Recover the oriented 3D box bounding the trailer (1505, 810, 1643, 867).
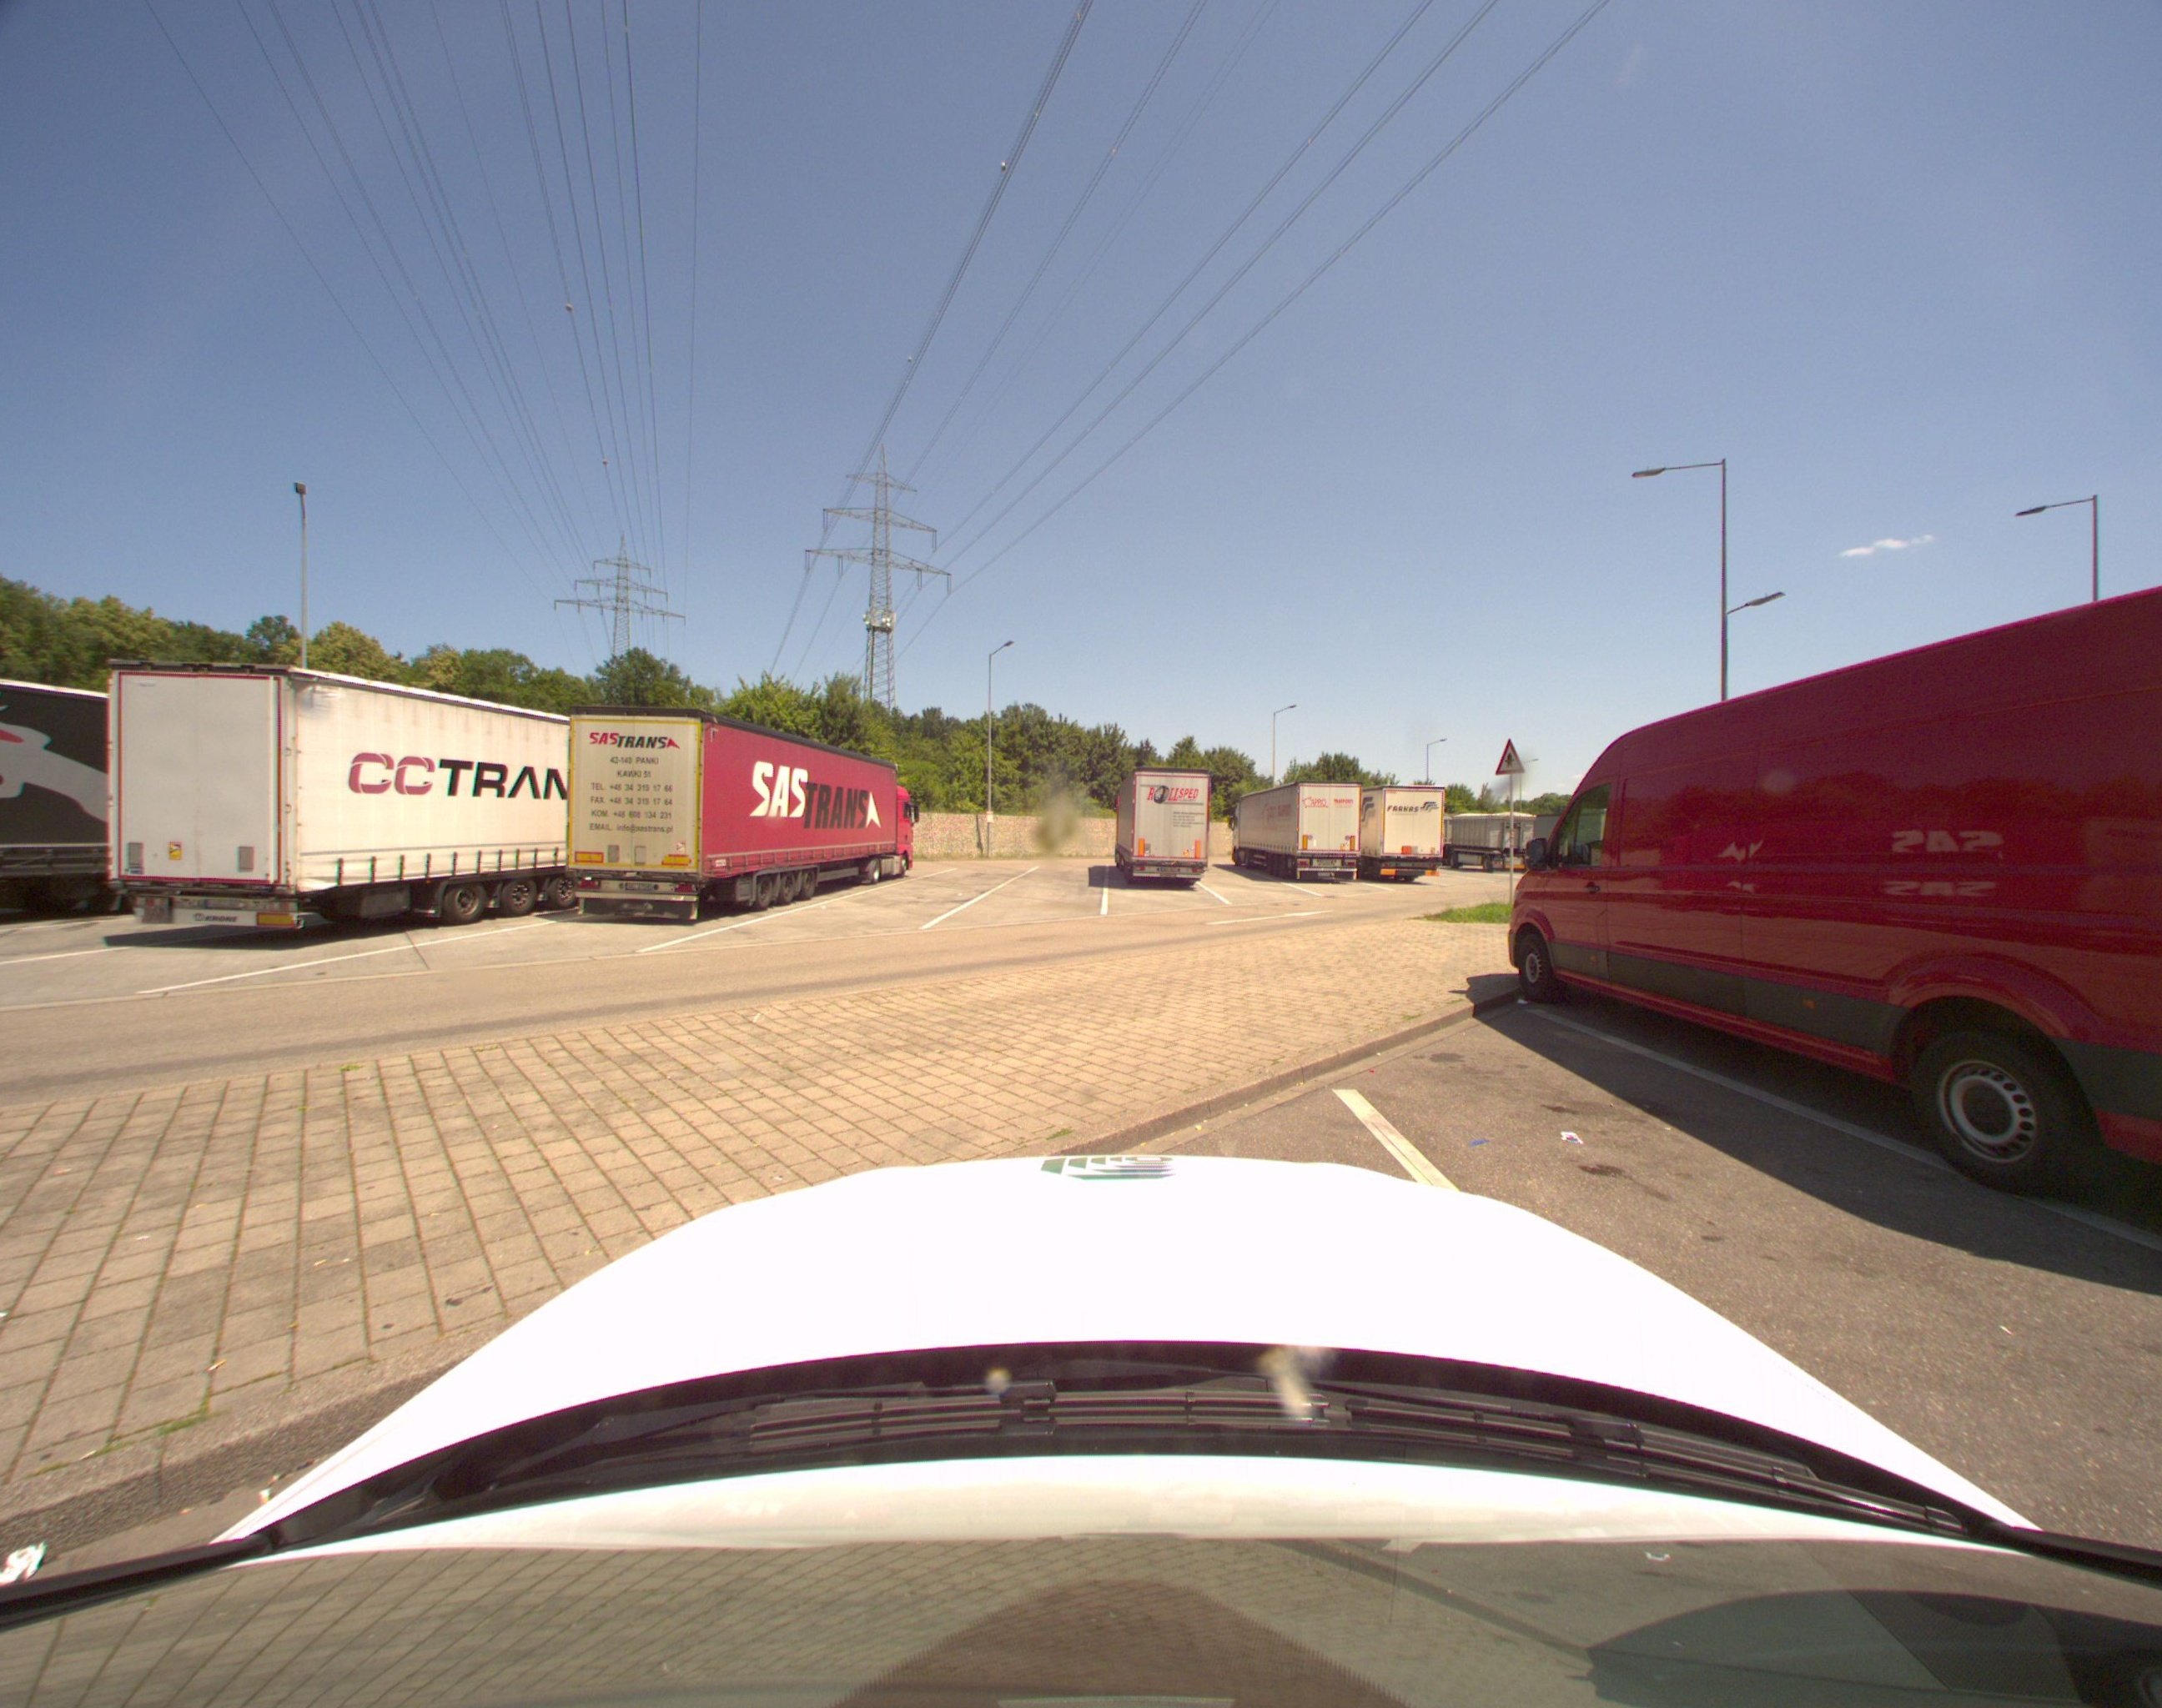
[{"bbox_3d":[38.230,-1.299,64.165,2.847,3.904,13.770,1,2,2],"label":"trailer"}]

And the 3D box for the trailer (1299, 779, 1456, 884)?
[{"bbox_3d":[13.619,-1.097,39.207,2.847,4.109,13.770,1,2,2],"label":"trailer"}]

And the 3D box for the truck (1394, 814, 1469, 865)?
[{"bbox_3d":[24.636,-1.084,57.579,2.855,3.362,5.977,1,2,2],"label":"truck"}]

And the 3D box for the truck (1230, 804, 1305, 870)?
[{"bbox_3d":[10.188,-0.980,45.047,2.855,3.362,5.977,1,2,2],"label":"truck"}]

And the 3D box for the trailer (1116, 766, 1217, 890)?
[{"bbox_3d":[3.059,-1.050,33.191,2.848,3.971,13.767,1,2,1],"label":"trailer"}]

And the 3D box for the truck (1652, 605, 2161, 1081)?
[{"bbox_3d":[8.014,-0.074,6.868,2.406,2.906,6.466,-1,0,6],"label":"truck"}]

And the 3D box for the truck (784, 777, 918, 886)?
[{"bbox_3d":[-7.821,-0.796,28.525,2.801,3.362,5.977,1,2,2],"label":"truck"}]

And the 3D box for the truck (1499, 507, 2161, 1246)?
[{"bbox_3d":[5.154,0.077,5.435,2.001,2.651,6.466,-1,0,6],"label":"truck"}]

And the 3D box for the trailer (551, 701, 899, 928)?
[{"bbox_3d":[-8.035,-0.929,21.708,2.811,4.070,13.770,1,2,2],"label":"trailer"}]

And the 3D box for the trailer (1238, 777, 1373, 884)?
[{"bbox_3d":[9.991,-1.122,38.283,2.847,4.109,13.770,1,2,2],"label":"trailer"}]

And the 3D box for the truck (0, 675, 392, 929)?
[{"bbox_3d":[-18.538,-0.940,15.811,2.696,4.070,8.694,1,2,2],"label":"truck"}]

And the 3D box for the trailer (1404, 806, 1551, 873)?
[{"bbox_3d":[24.450,-0.997,51.482,2.847,3.599,13.770,1,2,2],"label":"trailer"}]

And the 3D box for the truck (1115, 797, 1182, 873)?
[{"bbox_3d":[3.149,-0.941,39.394,2.855,3.362,5.977,1,2,2],"label":"truck"}]

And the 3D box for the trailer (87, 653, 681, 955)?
[{"bbox_3d":[-12.149,-0.843,16.404,2.696,4.101,10.395,1,2,2],"label":"trailer"}]
